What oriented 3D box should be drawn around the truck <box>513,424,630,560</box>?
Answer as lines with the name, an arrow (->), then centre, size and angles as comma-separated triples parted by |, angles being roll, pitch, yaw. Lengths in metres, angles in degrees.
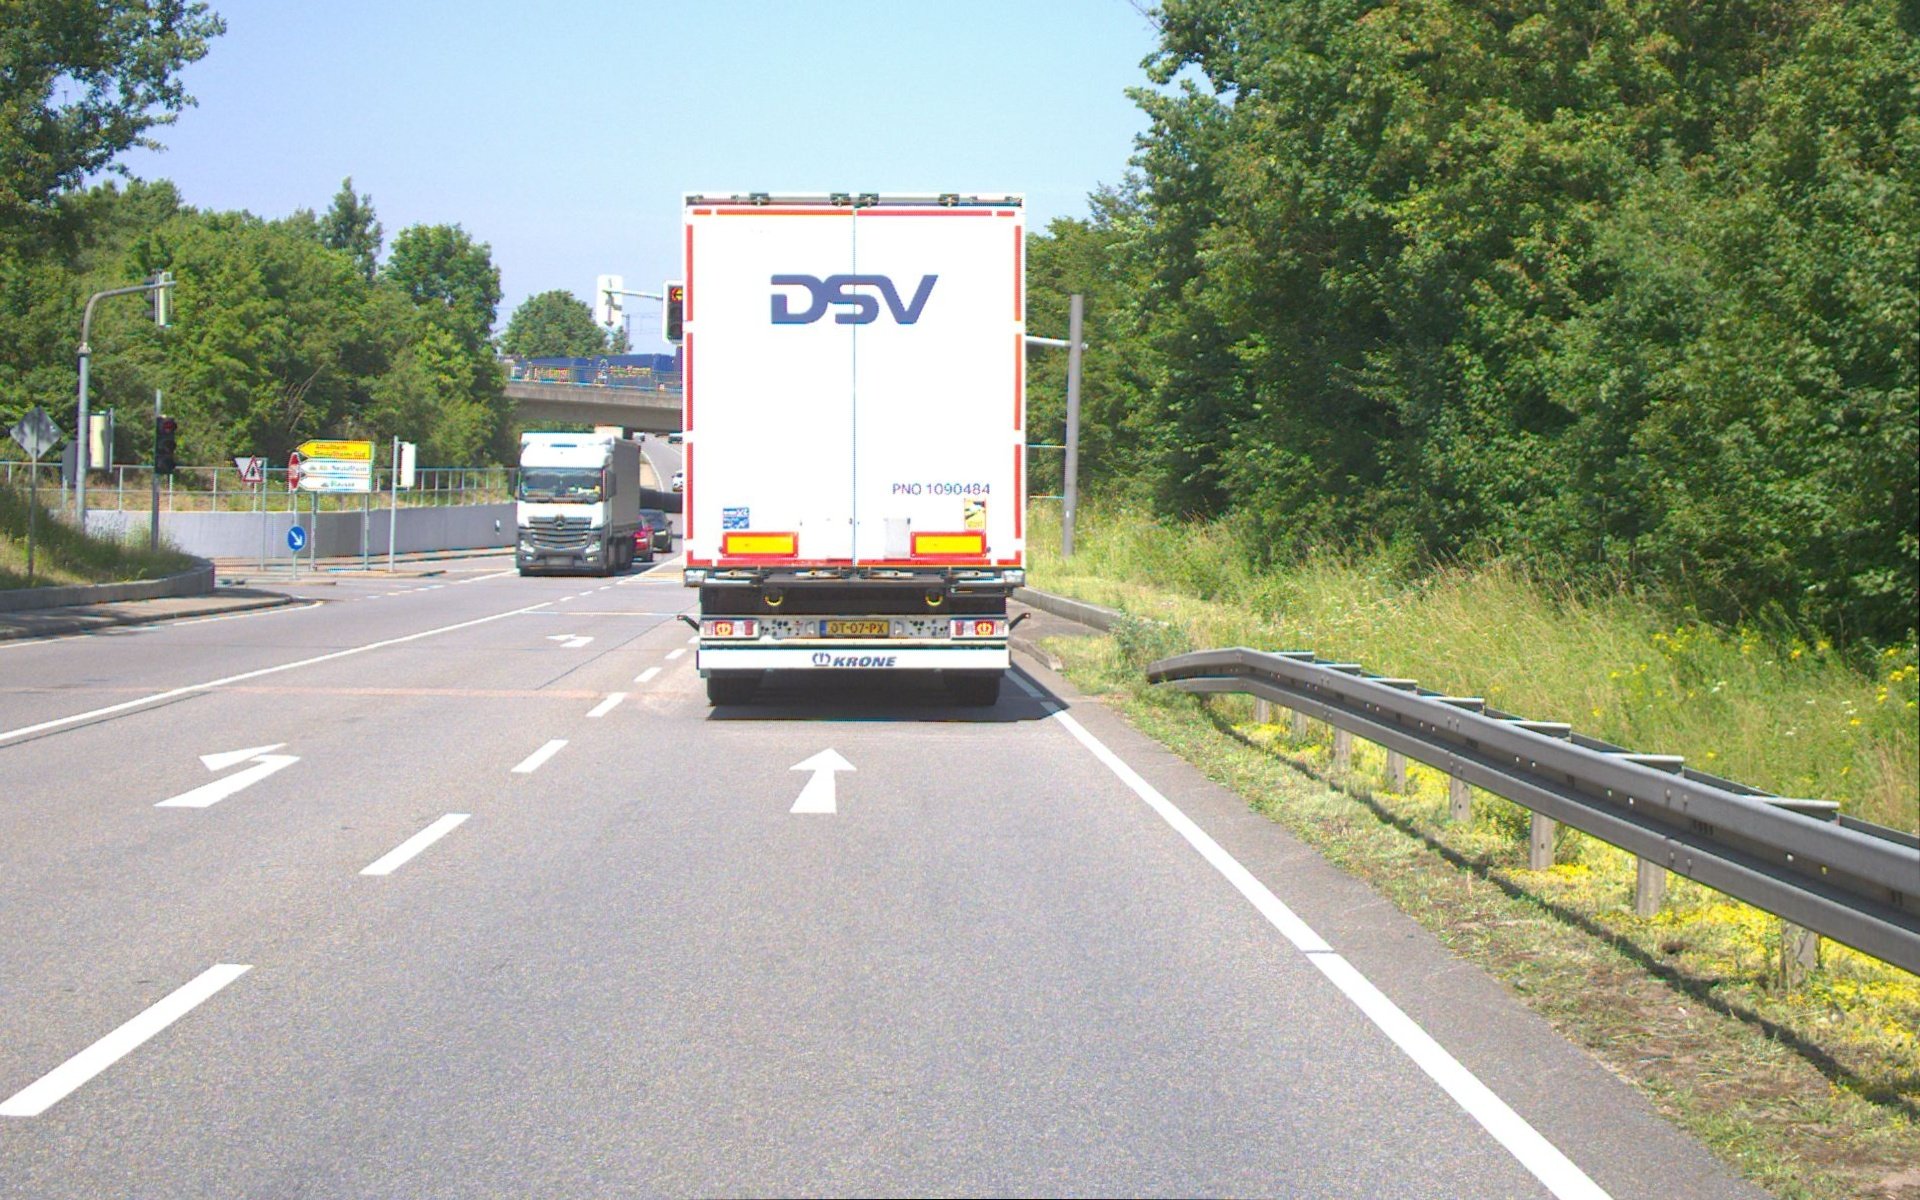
truck -> -11.306, -3.178, 100.984 | 2.353, 3.737, 12.627 | 0, 2, -2

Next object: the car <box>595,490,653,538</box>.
car -> -11.547, -2.980, 118.291 | 1.747, 1.620, 3.704 | 0, 2, -2

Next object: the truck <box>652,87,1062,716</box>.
truck -> -0.961, -1.566, 30.022 | 2.949, 4.553, 9.864 | 1, 1, -2

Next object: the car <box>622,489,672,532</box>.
car -> -12.298, -3.529, 135.012 | 1.747, 1.620, 3.704 | 0, 2, -2
